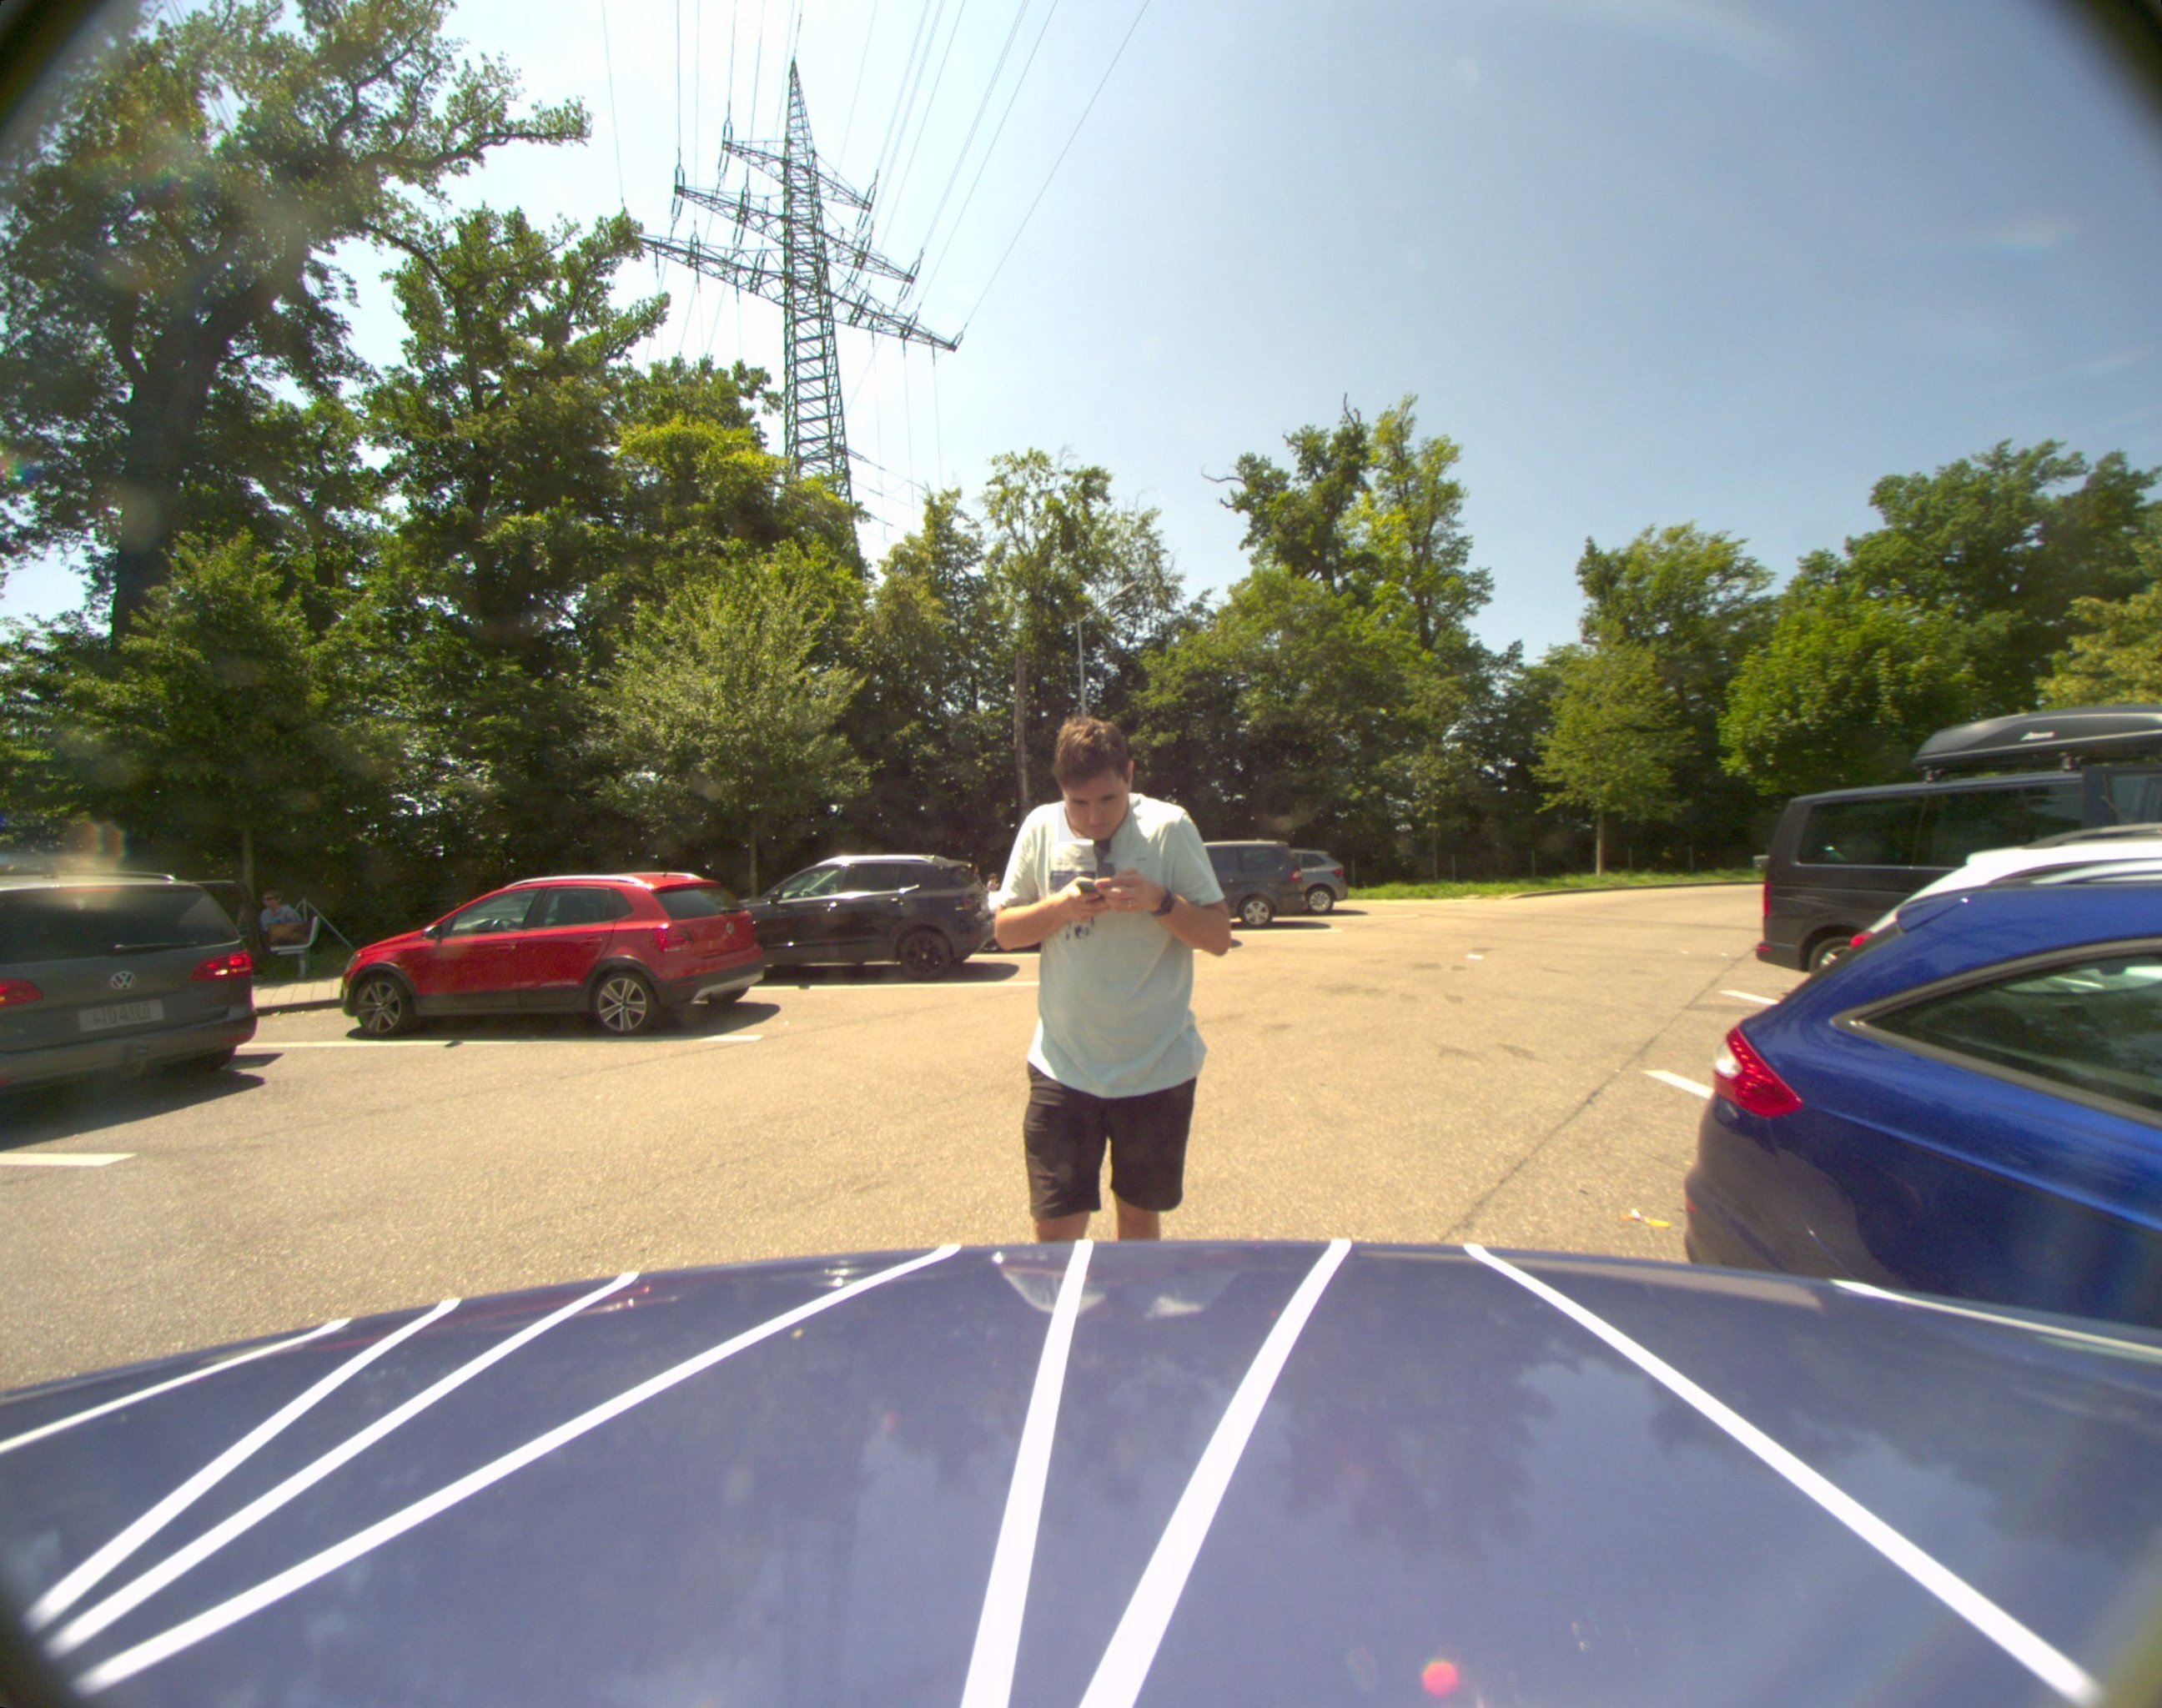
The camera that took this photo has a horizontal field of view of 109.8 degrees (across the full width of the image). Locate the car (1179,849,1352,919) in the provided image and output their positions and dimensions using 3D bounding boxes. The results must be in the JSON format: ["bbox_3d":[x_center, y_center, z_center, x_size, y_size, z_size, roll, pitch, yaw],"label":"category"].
[{"bbox_3d":[4.346,0.700,18.184,3.818,1.530,1.722,-1,1,12],"label":"car"}]

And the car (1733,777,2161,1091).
[{"bbox_3d":[7.324,0.435,4.941,1.961,1.858,4.642,-3,-1,-3],"label":"car"}]

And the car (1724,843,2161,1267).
[{"bbox_3d":[4.876,0.724,2.312,1.741,1.524,4.642,-3,-1,-2],"label":"car"}]

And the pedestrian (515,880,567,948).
[{"bbox_3d":[-10.905,1.191,15.352,0.782,1.287,0.670,-1,2,45],"label":"pedestrian"}]

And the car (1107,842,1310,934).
[{"bbox_3d":[2.593,0.677,15.482,3.818,1.714,1.722,-1,1,12],"label":"car"}]

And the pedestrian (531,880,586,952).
[{"bbox_3d":[-9.991,1.163,14.531,0.782,1.287,0.670,-1,2,45],"label":"pedestrian"}]

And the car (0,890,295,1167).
[{"bbox_3d":[-8.288,1.125,5.473,3.985,1.572,1.749,-1,1,12],"label":"car"}]

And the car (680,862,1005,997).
[{"bbox_3d":[-3.062,0.951,10.292,3.787,1.564,1.721,-2,1,2],"label":"car"}]

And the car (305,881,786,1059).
[{"bbox_3d":[-5.235,1.082,7.682,3.785,1.457,1.722,-1,1,9],"label":"car"}]

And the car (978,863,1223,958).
[{"bbox_3d":[0.370,0.911,12.757,3.819,1.377,1.722,-2,1,6],"label":"car"}]

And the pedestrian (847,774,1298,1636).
[{"bbox_3d":[-0.009,0.760,1.932,0.890,1.831,0.622,-2,1,1],"label":"pedestrian"}]
